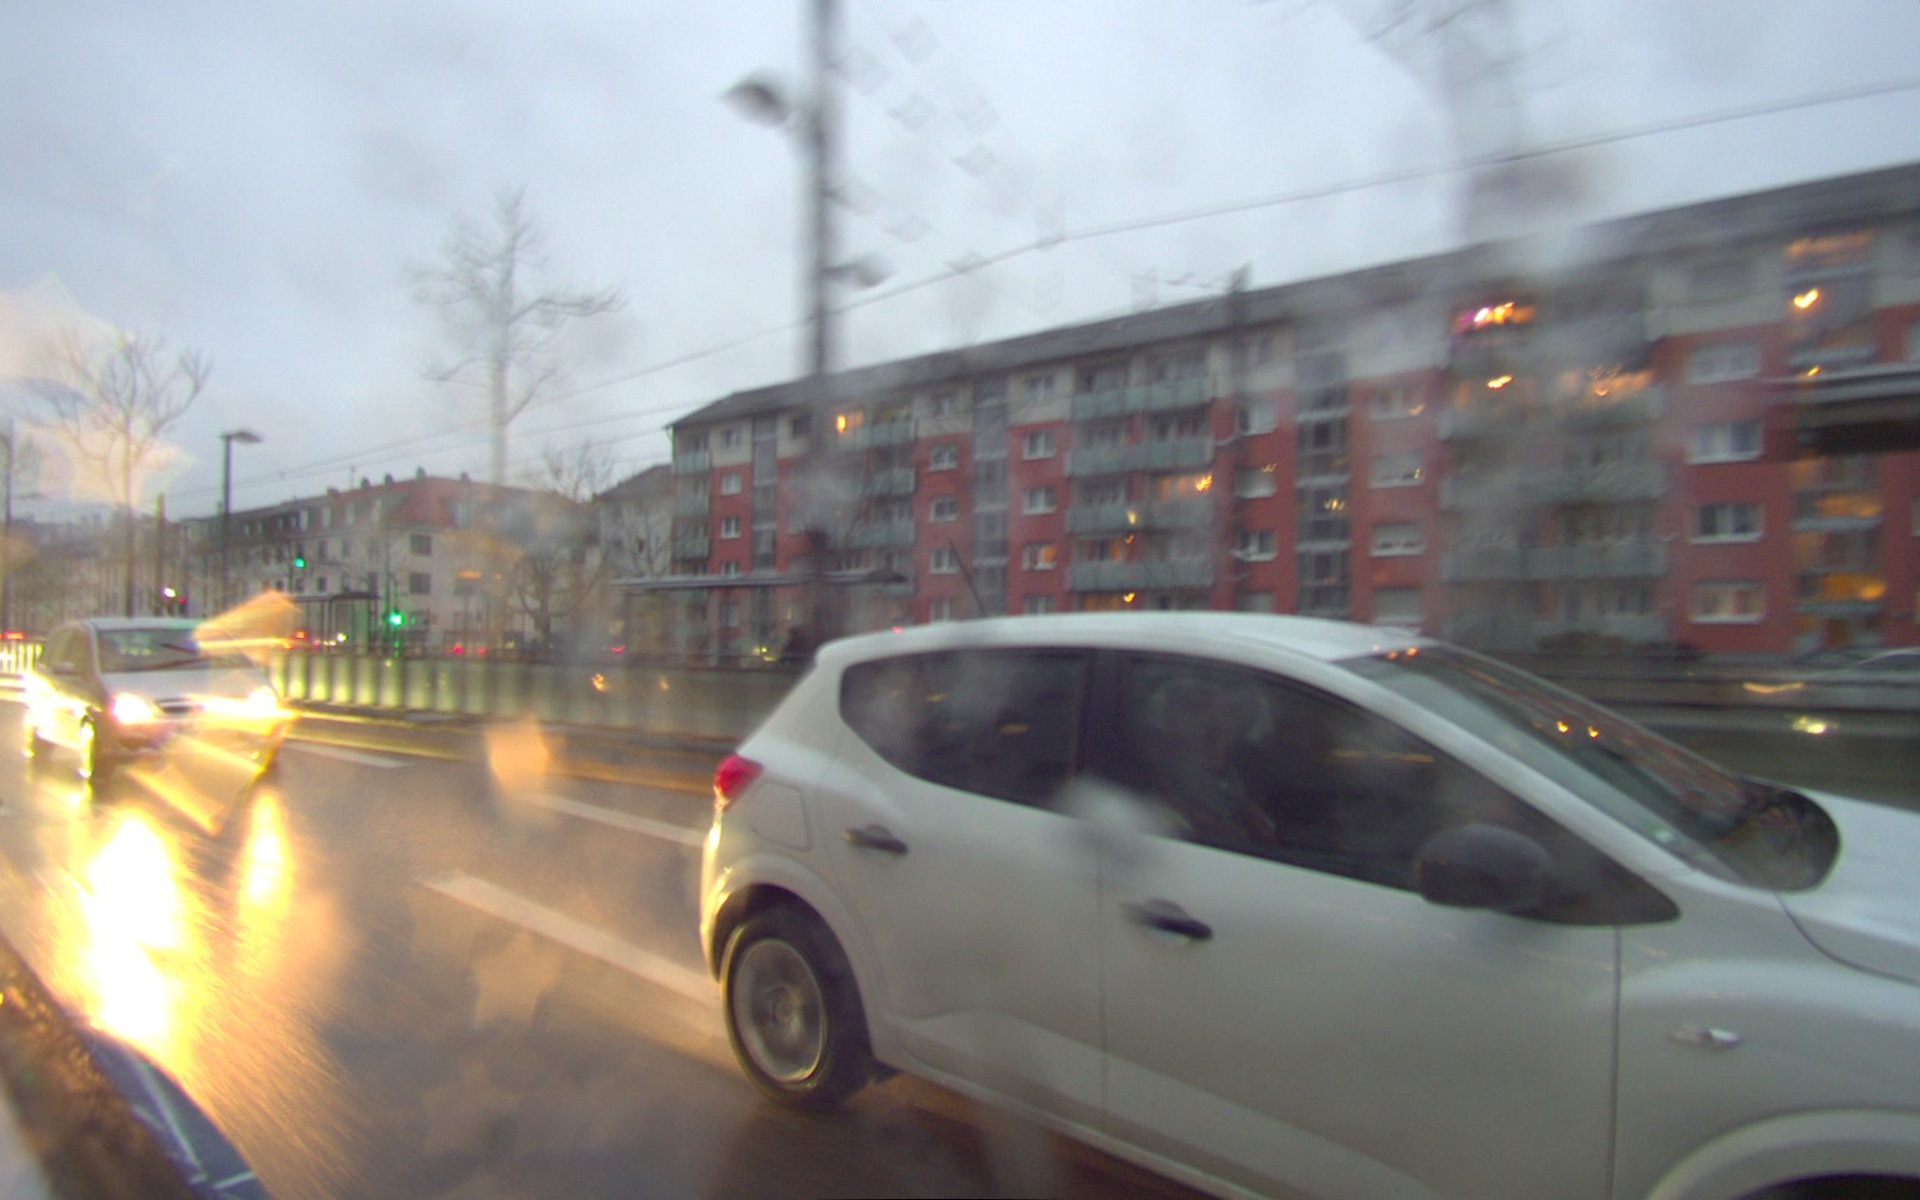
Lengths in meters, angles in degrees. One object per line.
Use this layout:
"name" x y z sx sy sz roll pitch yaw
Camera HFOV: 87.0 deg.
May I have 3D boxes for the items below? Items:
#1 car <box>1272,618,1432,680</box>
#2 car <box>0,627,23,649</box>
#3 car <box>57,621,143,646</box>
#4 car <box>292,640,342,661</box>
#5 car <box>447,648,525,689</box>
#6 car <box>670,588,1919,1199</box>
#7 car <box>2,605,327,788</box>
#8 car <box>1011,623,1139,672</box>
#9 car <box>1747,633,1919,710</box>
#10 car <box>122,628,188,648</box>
"car" 11.552 1.378 29.948 4.144 1.658 1.709 0 0 37
"car" -74.328 2.947 78.599 3.741 1.651 1.509 0 -1 35
"car" -79.787 3.083 93.970 5.807 2.271 1.827 0 0 -22
"car" -31.030 2.432 48.807 2.485 0.945 1.134 0 -1 34
"car" -23.172 3.328 49.451 3.990 1.772 1.677 0 0 34
"car" 1.120 0.724 2.722 3.996 1.477 1.691 0 0 39
"car" -9.044 0.905 11.419 3.994 1.690 1.997 0 0 38
"car" 3.951 1.604 35.120 4.142 1.555 1.709 0 0 36
"car" 17.618 1.337 19.156 4.206 1.302 1.763 0 0 36
"car" -65.037 3.038 81.832 3.943 1.516 1.317 0 0 -21
